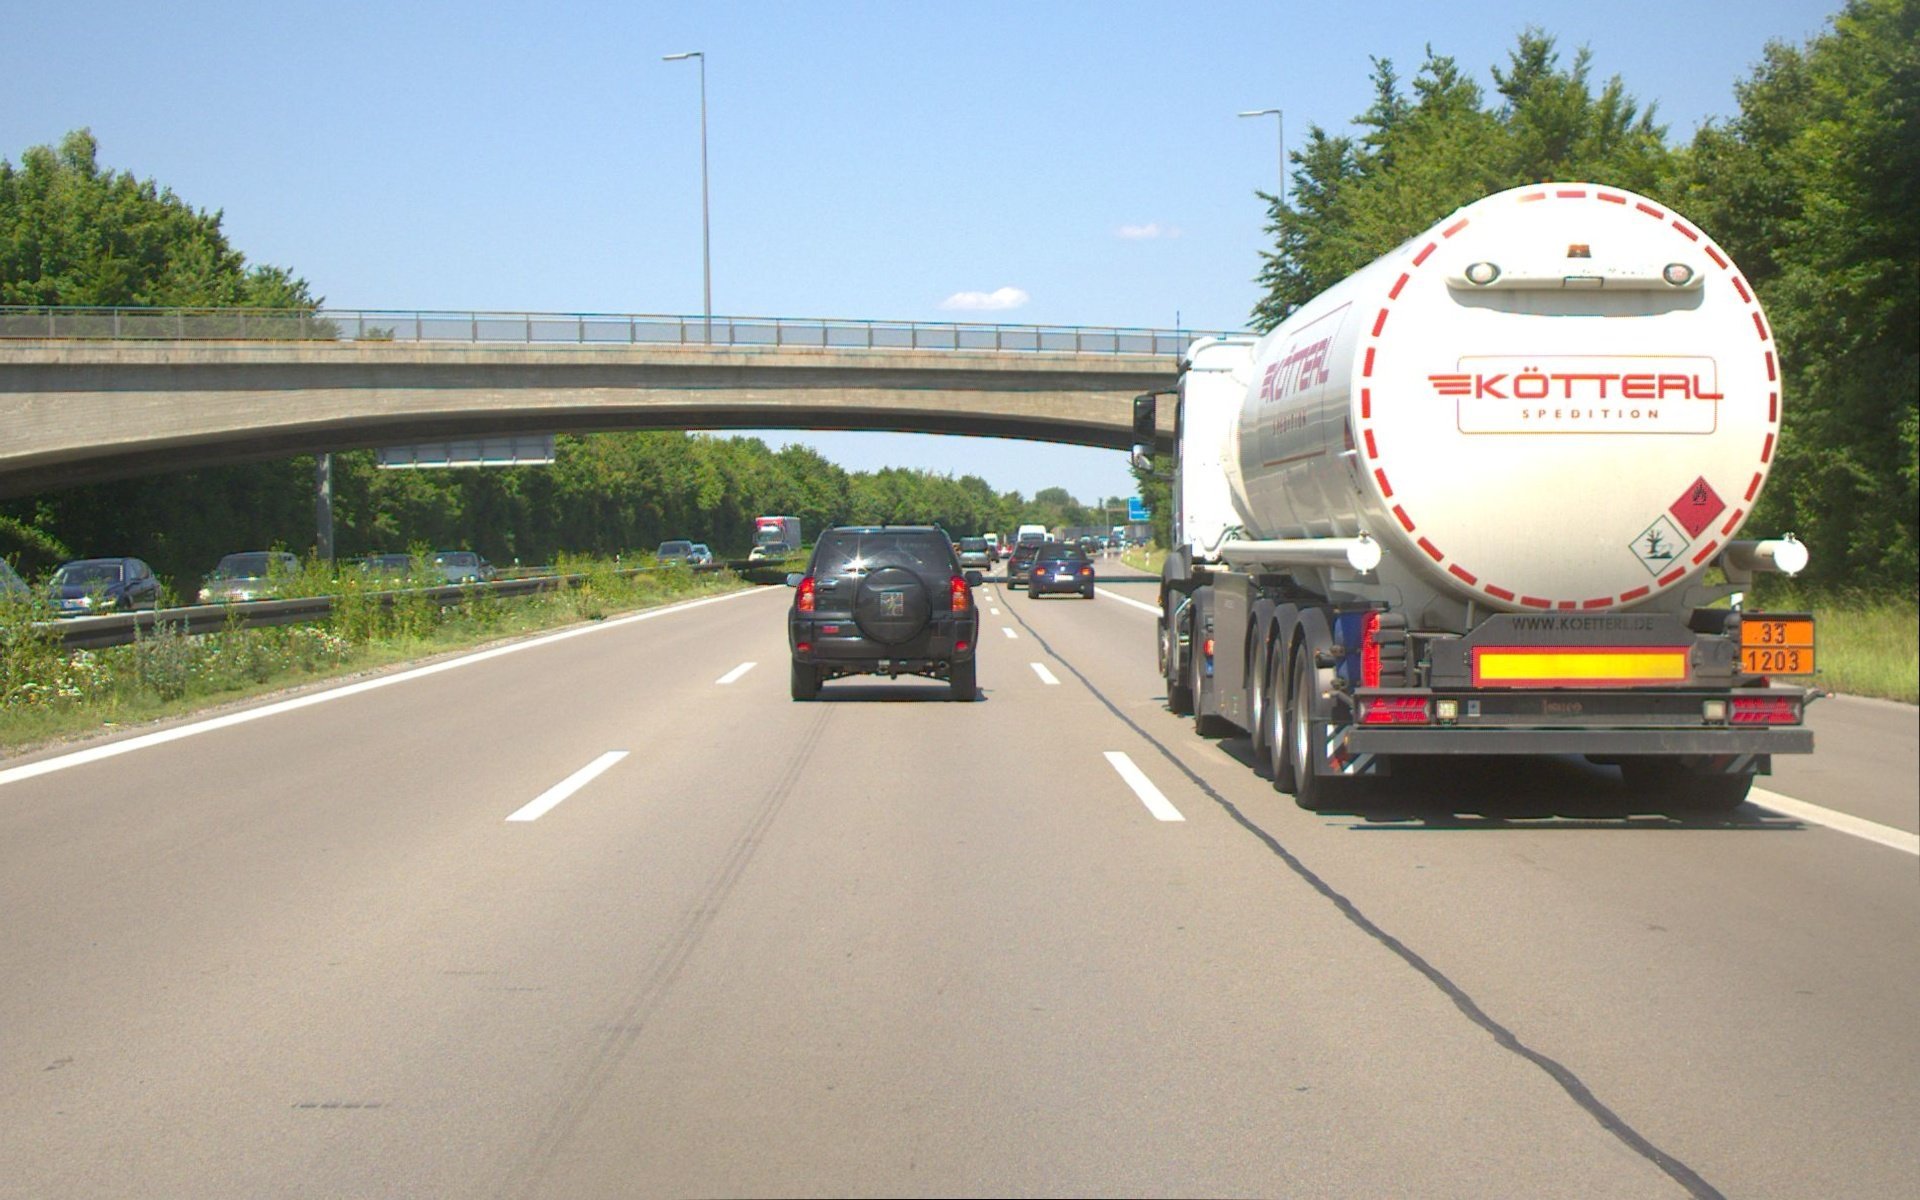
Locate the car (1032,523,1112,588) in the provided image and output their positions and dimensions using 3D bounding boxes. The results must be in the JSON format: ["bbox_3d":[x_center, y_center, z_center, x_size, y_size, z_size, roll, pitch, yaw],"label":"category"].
[{"bbox_3d":[3.017,-1.184,93.301,1.993,1.678,4.000,-1,0,0],"label":"car"}]

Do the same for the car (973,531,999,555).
[{"bbox_3d":[1.932,-4.247,254.674,1.812,1.740,4.000,-1,1,-1],"label":"car"}]

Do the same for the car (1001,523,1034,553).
[{"bbox_3d":[3.536,-3.827,211.932,1.812,1.740,4.001,-1,1,-2],"label":"car"}]

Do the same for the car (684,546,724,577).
[{"bbox_3d":[-14.164,-2.142,190.417,1.899,1.635,4.000,-1,0,0],"label":"car"}]

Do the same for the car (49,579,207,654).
[{"bbox_3d":[-16.228,0.306,67.269,1.993,1.392,4.659,-1,0,-1],"label":"car"}]

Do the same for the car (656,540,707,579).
[{"bbox_3d":[-12.323,-1.820,152.282,1.797,1.661,4.128,-1,1,1],"label":"car"}]

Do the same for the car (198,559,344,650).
[{"bbox_3d":[-13.076,0.058,65.437,1.915,1.596,4.435,-1,1,-1],"label":"car"}]

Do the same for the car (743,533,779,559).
[{"bbox_3d":[-12.062,-3.301,208.218,1.860,1.522,4.751,-1,1,0],"label":"car"}]

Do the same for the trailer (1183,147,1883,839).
[{"bbox_3d":[3.166,-0.616,22.419,2.648,3.378,11.152,0,1,0],"label":"trailer"}]

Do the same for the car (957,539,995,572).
[{"bbox_3d":[0.864,-2.417,187.045,1.993,1.744,4.205,-1,1,-1],"label":"car"}]

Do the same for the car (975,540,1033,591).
[{"bbox_3d":[1.427,-1.117,112.445,1.842,1.606,4.000,-1,0,0],"label":"car"}]

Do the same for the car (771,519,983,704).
[{"bbox_3d":[-0.813,0.076,33.339,1.906,1.659,4.000,-1,1,-2],"label":"car"}]

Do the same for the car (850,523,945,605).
[{"bbox_3d":[-1.367,-0.796,75.463,1.993,1.700,4.336,-2,1,-1],"label":"car"}]

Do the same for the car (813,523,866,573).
[{"bbox_3d":[-4.973,-2.162,142.501,1.993,2.007,4.950,-2,1,0],"label":"car"}]

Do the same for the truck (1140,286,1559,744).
[{"bbox_3d":[3.042,-0.682,28.586,2.638,3.363,6.488,0,1,-1],"label":"truck"}]

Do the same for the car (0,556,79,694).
[{"bbox_3d":[-12.930,0.288,44.884,1.872,1.687,4.000,0,1,-1],"label":"car"}]
